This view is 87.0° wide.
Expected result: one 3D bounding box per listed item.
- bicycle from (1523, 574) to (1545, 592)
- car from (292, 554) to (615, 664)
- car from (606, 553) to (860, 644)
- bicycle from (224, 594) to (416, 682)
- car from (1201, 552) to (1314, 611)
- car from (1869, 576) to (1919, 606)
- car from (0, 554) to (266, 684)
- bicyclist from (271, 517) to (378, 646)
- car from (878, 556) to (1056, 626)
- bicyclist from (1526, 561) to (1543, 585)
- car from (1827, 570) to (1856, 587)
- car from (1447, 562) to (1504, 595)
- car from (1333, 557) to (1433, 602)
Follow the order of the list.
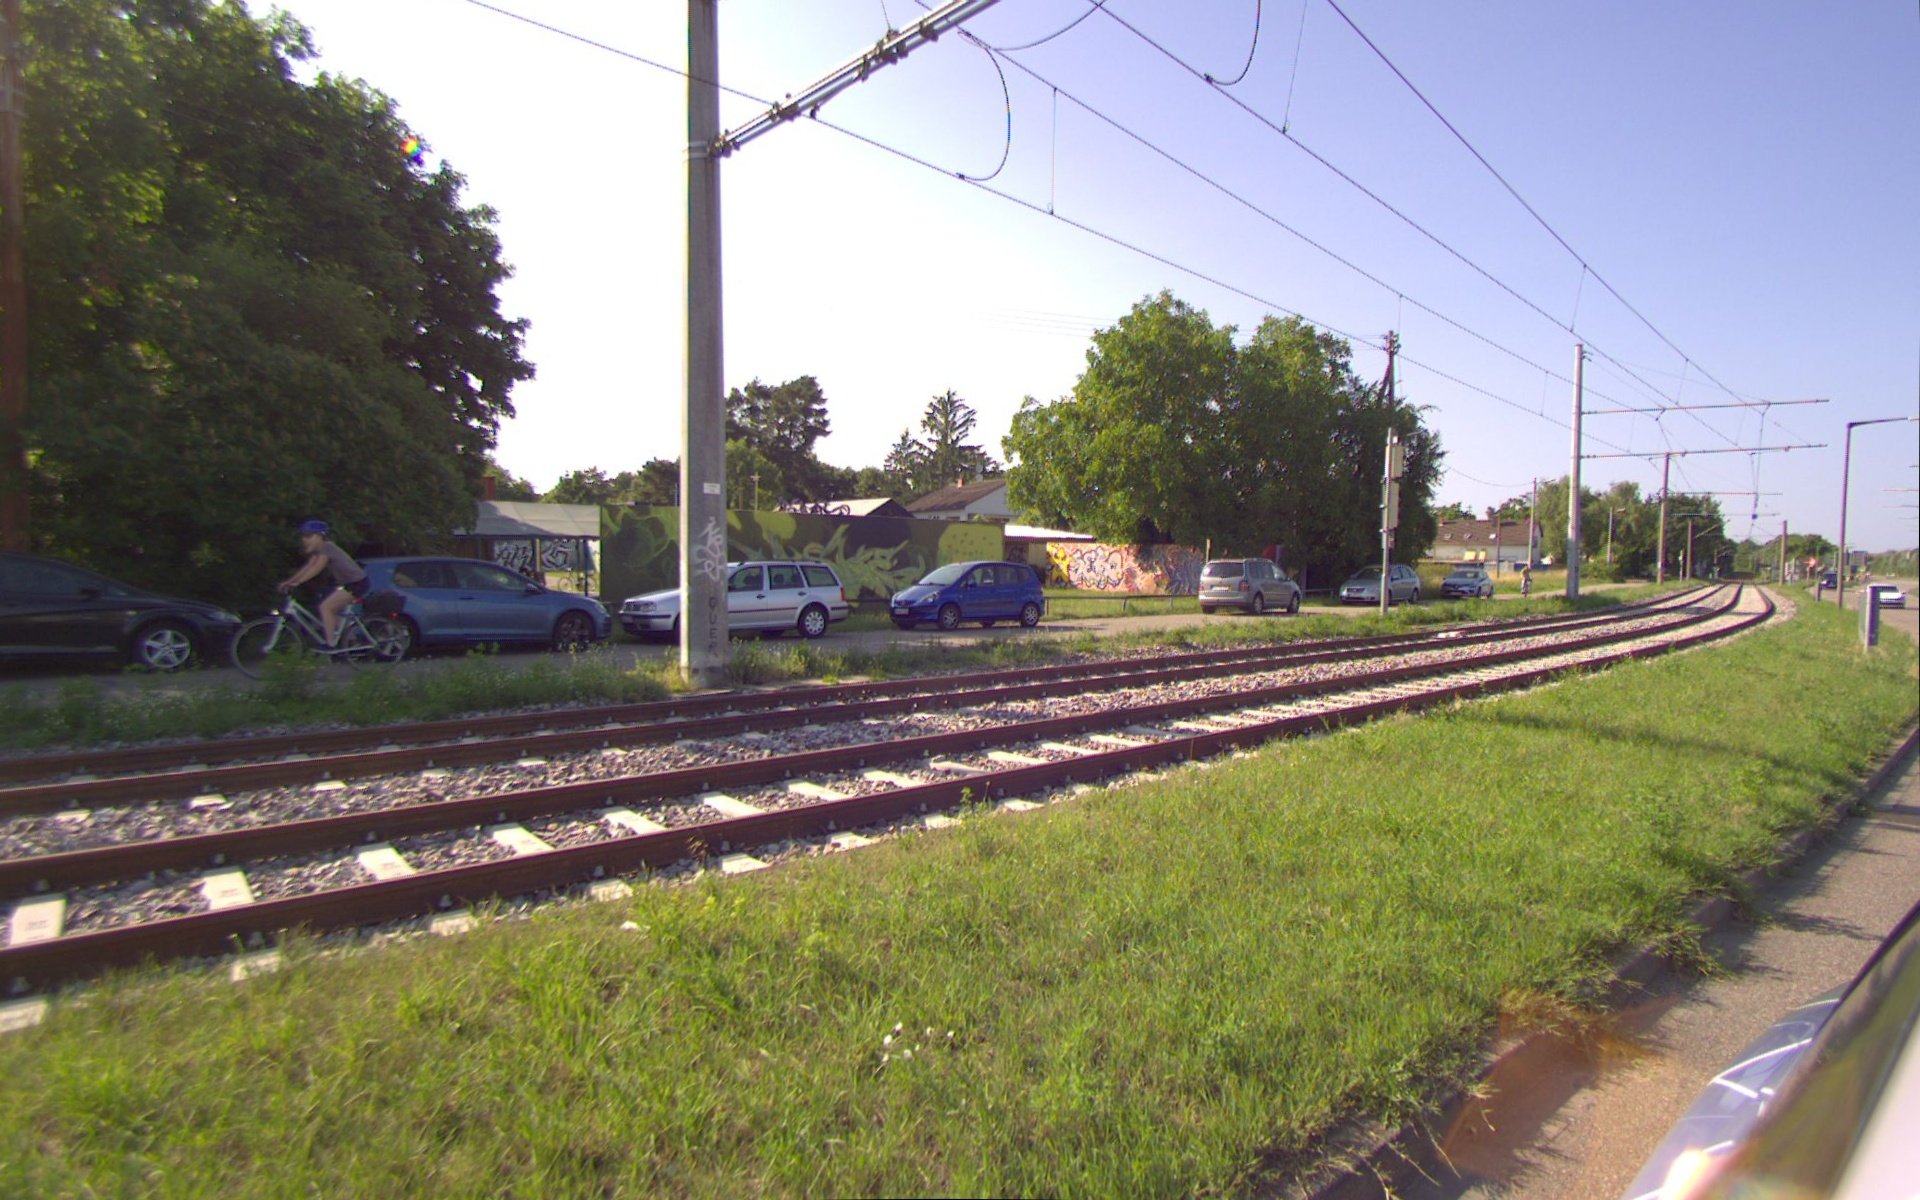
[{"bbox_3d":[30.656,-0.911,54.012,0.642,0.921,1.786,1,2,42],"label":"bicycle"},{"bbox_3d":[-7.432,0.045,15.159,1.485,1.418,4.086,3,3,43],"label":"car"},{"bbox_3d":[-4.099,-0.082,18.719,4.314,1.483,1.712,-1,3,-42],"label":"car"},{"bbox_3d":[-7.485,0.407,11.906,0.643,0.921,1.814,1,2,45],"label":"bicycle"},{"bbox_3d":[9.033,-0.595,30.536,1.521,1.630,4.418,3,3,41],"label":"car"},{"bbox_3d":[54.127,-0.523,58.496,1.959,1.638,4.250,1,2,37],"label":"car"},{"bbox_3d":[-10.913,0.192,11.810,4.447,1.428,1.624,-2,2,-44],"label":"car"},{"bbox_3d":[-7.468,-0.224,11.908,0.947,1.440,0.629,-1,2,-45],"label":"bicyclist"},{"bbox_3d":[0.201,-0.205,22.742,3.842,1.448,1.681,-1,1,-40],"label":"car"},{"bbox_3d":[30.611,-1.434,53.955,0.639,1.248,0.779,1,1,42],"label":"bicyclist"},{"bbox_3d":[82.392,-2.026,94.611,1.829,1.532,4.096,0,1,38],"label":"car"},{"bbox_3d":[24.762,-1.051,48.544,1.532,1.466,4.072,3,3,39],"label":"car"},{"bbox_3d":[16.630,-0.828,39.669,4.649,1.609,1.909,-1,3,-44],"label":"car"}]
